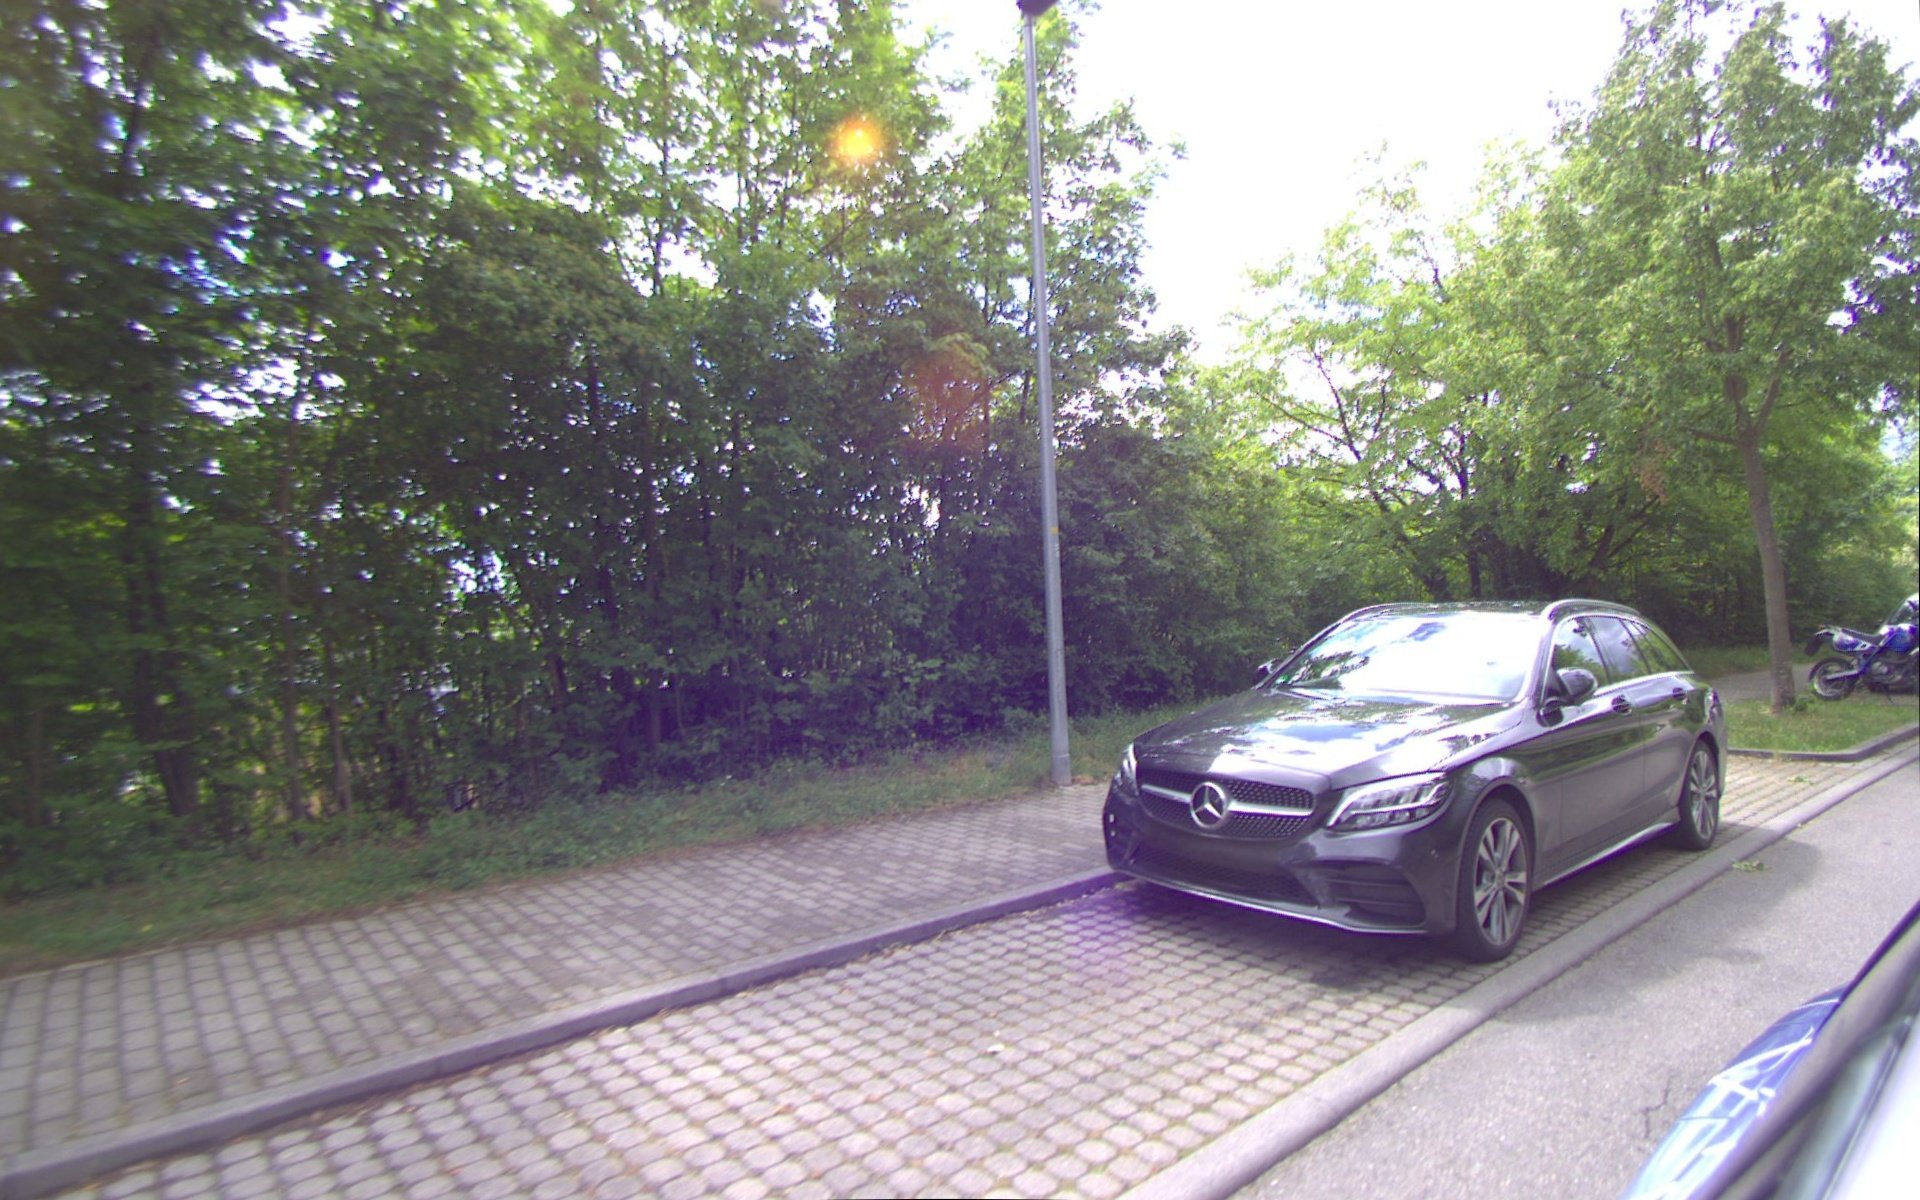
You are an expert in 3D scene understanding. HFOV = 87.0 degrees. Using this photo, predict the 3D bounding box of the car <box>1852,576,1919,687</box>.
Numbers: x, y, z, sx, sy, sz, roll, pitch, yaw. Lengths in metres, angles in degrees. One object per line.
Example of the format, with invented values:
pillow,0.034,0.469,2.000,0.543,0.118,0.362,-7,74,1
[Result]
car,15.335,0.398,15.269,4.028,1.536,1.775,-2,0,-33

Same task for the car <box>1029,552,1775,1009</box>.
car,2.672,0.642,5.589,4.463,1.550,1.897,0,-2,-39

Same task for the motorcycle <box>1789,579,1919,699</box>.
motorcycle,12.355,0.477,13.194,0.955,1.494,2.317,-1,1,-10
